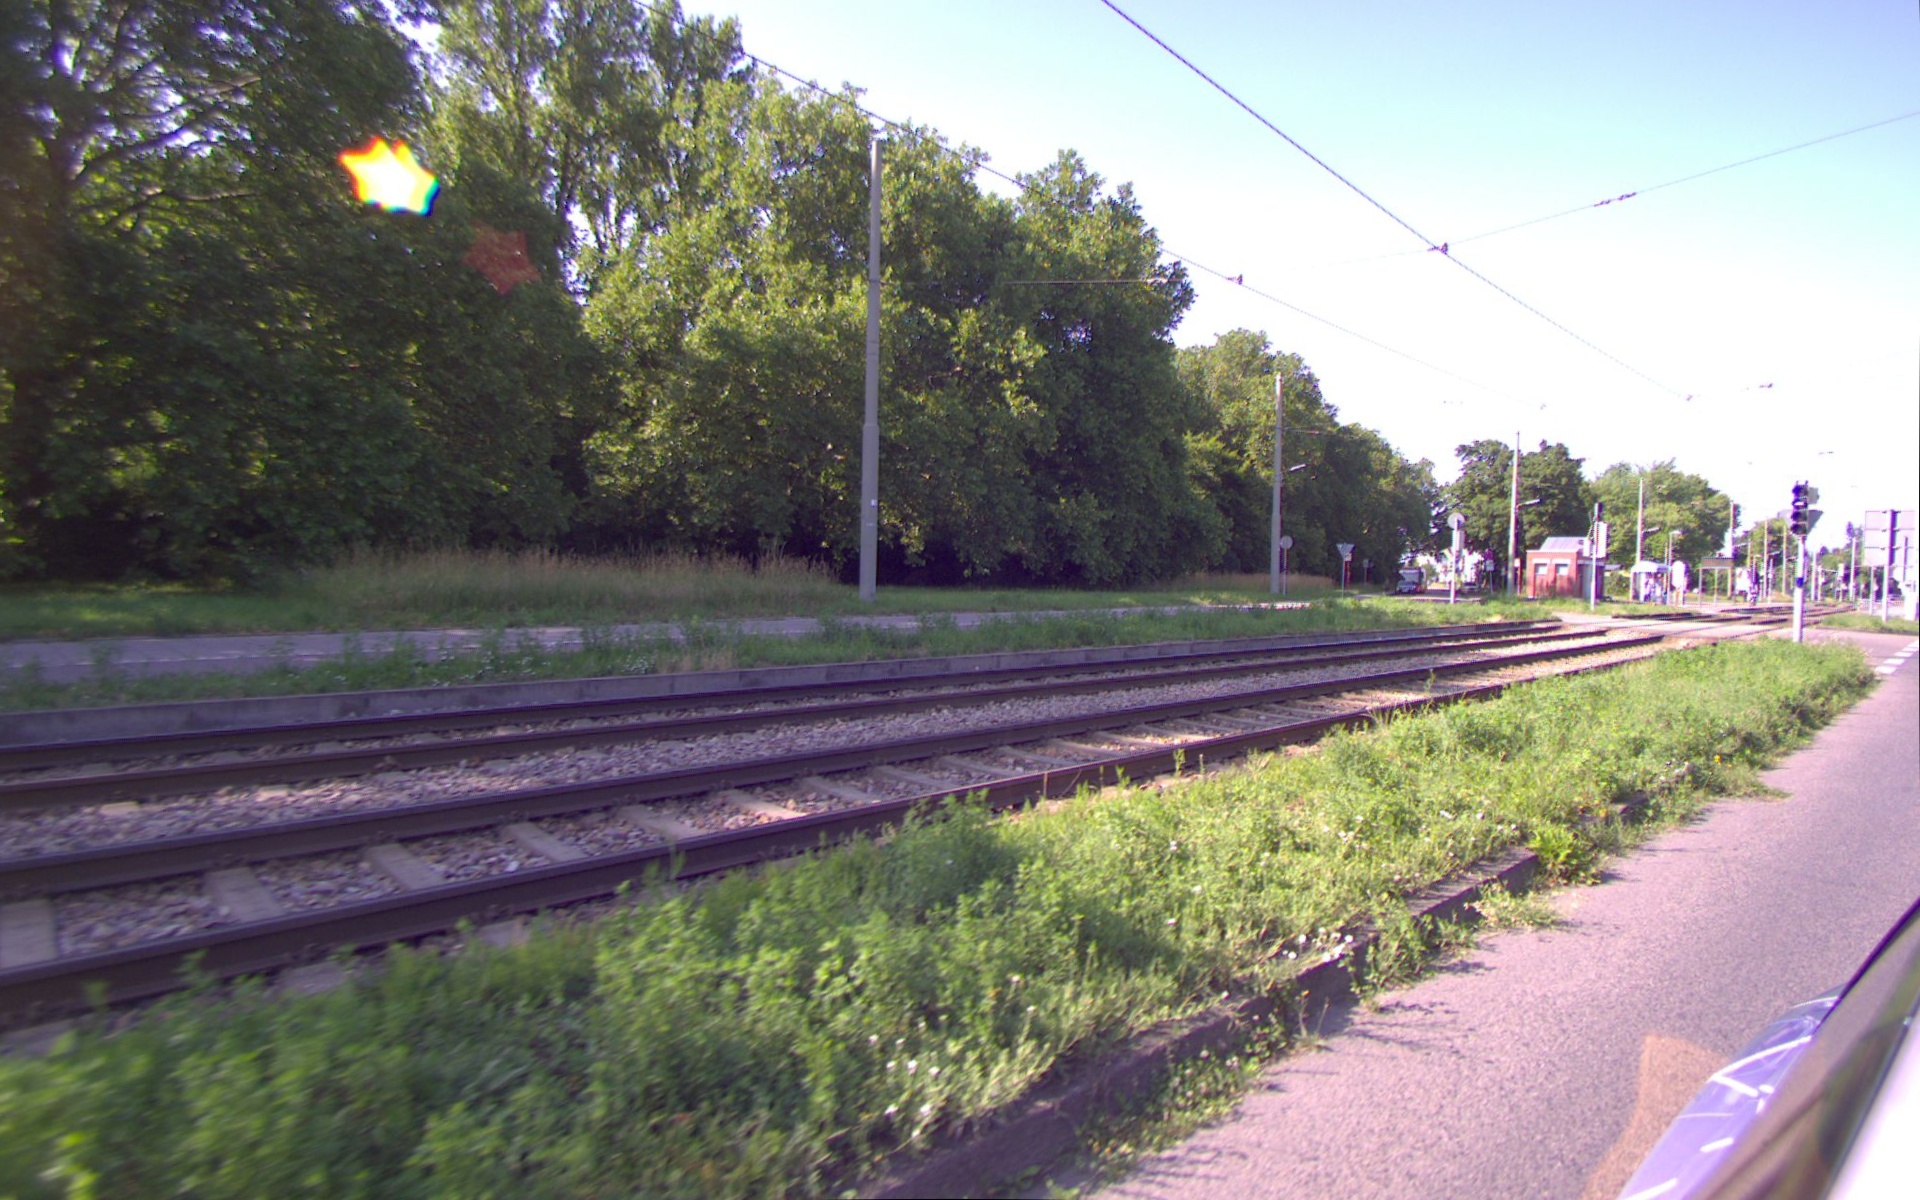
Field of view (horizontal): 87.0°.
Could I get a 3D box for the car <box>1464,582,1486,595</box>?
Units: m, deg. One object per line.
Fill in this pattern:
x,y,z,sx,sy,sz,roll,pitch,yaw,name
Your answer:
59.987,-1.371,117.892,1.784,1.409,3.761,2,2,20,car

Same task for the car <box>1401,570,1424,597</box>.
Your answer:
43.723,-1.540,97.839,1.838,2.552,3.834,0,0,21,car
